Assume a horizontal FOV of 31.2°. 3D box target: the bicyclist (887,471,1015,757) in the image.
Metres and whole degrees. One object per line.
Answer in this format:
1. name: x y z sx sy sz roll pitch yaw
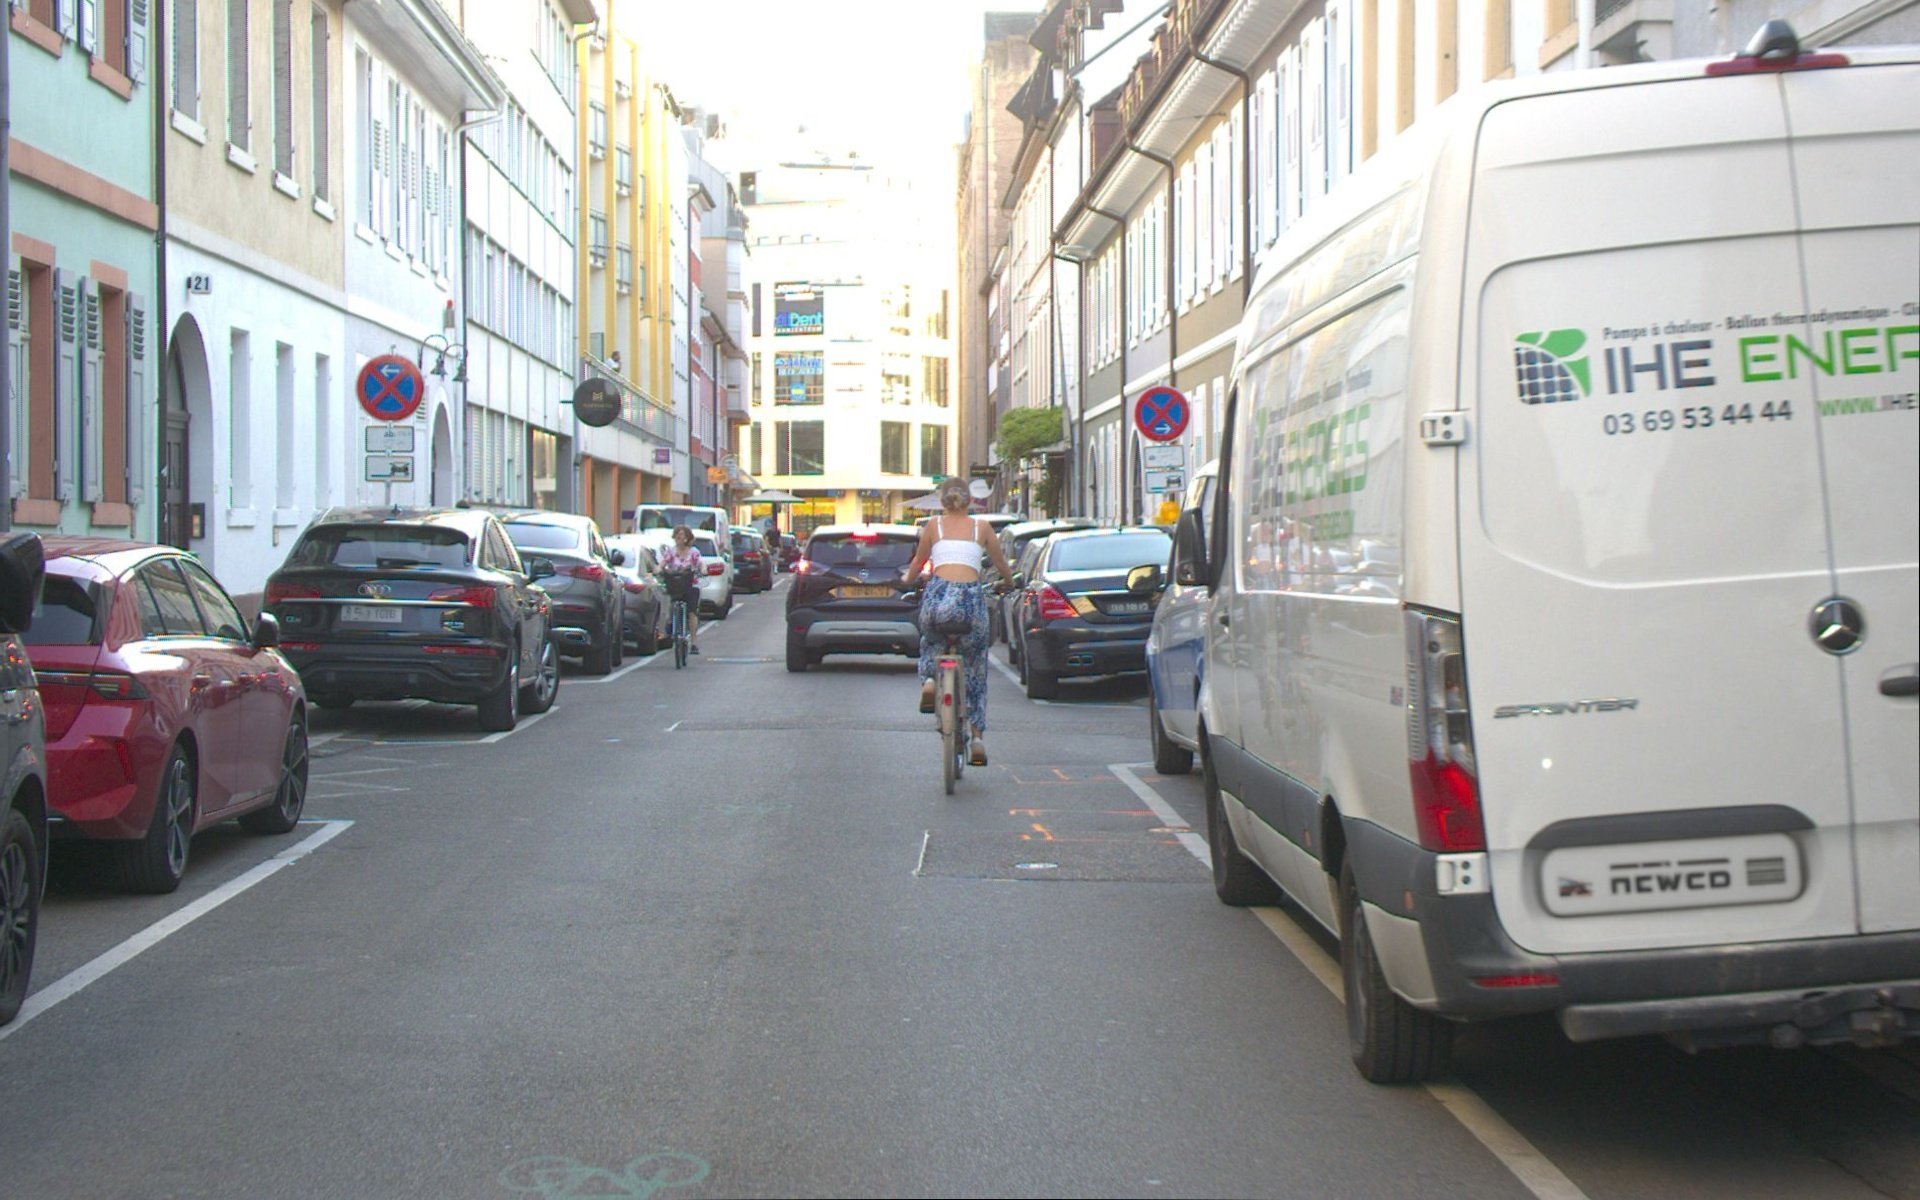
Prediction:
1. bicyclist: -0.057 0.075 19.252 0.620 1.569 0.684 0 1 -7

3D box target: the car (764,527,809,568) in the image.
1. car: -6.804 -2.066 135.225 1.653 1.555 3.606 1 1 -1

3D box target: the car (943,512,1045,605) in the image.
1. car: 0.572 -0.747 60.904 1.653 1.555 3.606 1 1 -1

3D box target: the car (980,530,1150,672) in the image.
1. car: 1.135 -0.029 38.792 1.676 1.481 4.000 1 1 -1

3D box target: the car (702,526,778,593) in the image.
1. car: -5.305 -0.994 83.104 1.653 1.555 3.606 1 1 -1

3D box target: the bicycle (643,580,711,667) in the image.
1. bicycle: -3.178 0.249 38.746 0.613 0.929 1.886 1 1 0

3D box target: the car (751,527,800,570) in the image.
1. car: -6.875 -1.943 128.410 1.653 1.555 3.606 1 1 -1

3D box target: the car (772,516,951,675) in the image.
1. car: -1.091 -0.083 37.780 1.819 1.612 4.001 1 1 -2

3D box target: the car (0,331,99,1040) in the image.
1. car: -3.597 0.266 8.658 1.862 2.007 4.815 0 1 -3

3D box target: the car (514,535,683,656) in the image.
1. car: -4.590 -0.094 44.124 1.918 1.429 4.294 1 1 -3

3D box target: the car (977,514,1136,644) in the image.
1. car: 1.327 -0.328 48.894 1.918 1.732 4.154 1 1 -3

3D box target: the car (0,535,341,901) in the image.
1. car: -3.998 0.414 15.345 1.765 1.397 4.263 1 1 -1

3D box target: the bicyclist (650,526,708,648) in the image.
1. bicyclist: -3.180 -0.154 38.900 0.605 1.365 0.621 1 1 -1

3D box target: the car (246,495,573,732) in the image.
1. car: -4.136 0.047 26.497 1.803 1.671 4.490 0 1 0

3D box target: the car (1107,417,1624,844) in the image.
1. car: 2.016 0.100 18.757 1.941 1.888 5.318 -3 1 -2

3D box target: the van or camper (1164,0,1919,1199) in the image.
1. van or camper: 1.919 -0.073 10.915 2.050 2.628 7.063 0 1 -1

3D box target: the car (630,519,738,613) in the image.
1. car: -4.835 -0.616 60.582 1.653 1.555 3.606 1 1 -1

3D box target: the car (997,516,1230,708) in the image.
1. car: 1.331 0.056 31.701 1.819 1.525 5.071 -3 1 0

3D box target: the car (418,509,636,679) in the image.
1. car: -4.664 -0.111 37.587 1.997 1.701 4.536 1 1 -3

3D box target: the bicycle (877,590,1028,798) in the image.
1. bicycle: -0.061 0.500 19.263 0.613 1.078 1.810 0 1 -8

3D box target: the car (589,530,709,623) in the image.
1. car: -4.998 -0.404 55.601 1.653 1.406 3.606 1 1 -1

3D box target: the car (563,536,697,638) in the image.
1. car: -4.809 -0.219 50.514 1.653 1.406 3.903 1 1 -1

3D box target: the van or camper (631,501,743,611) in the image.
1. van or camper: -5.233 -0.860 66.314 1.844 2.006 4.679 1 1 -1
